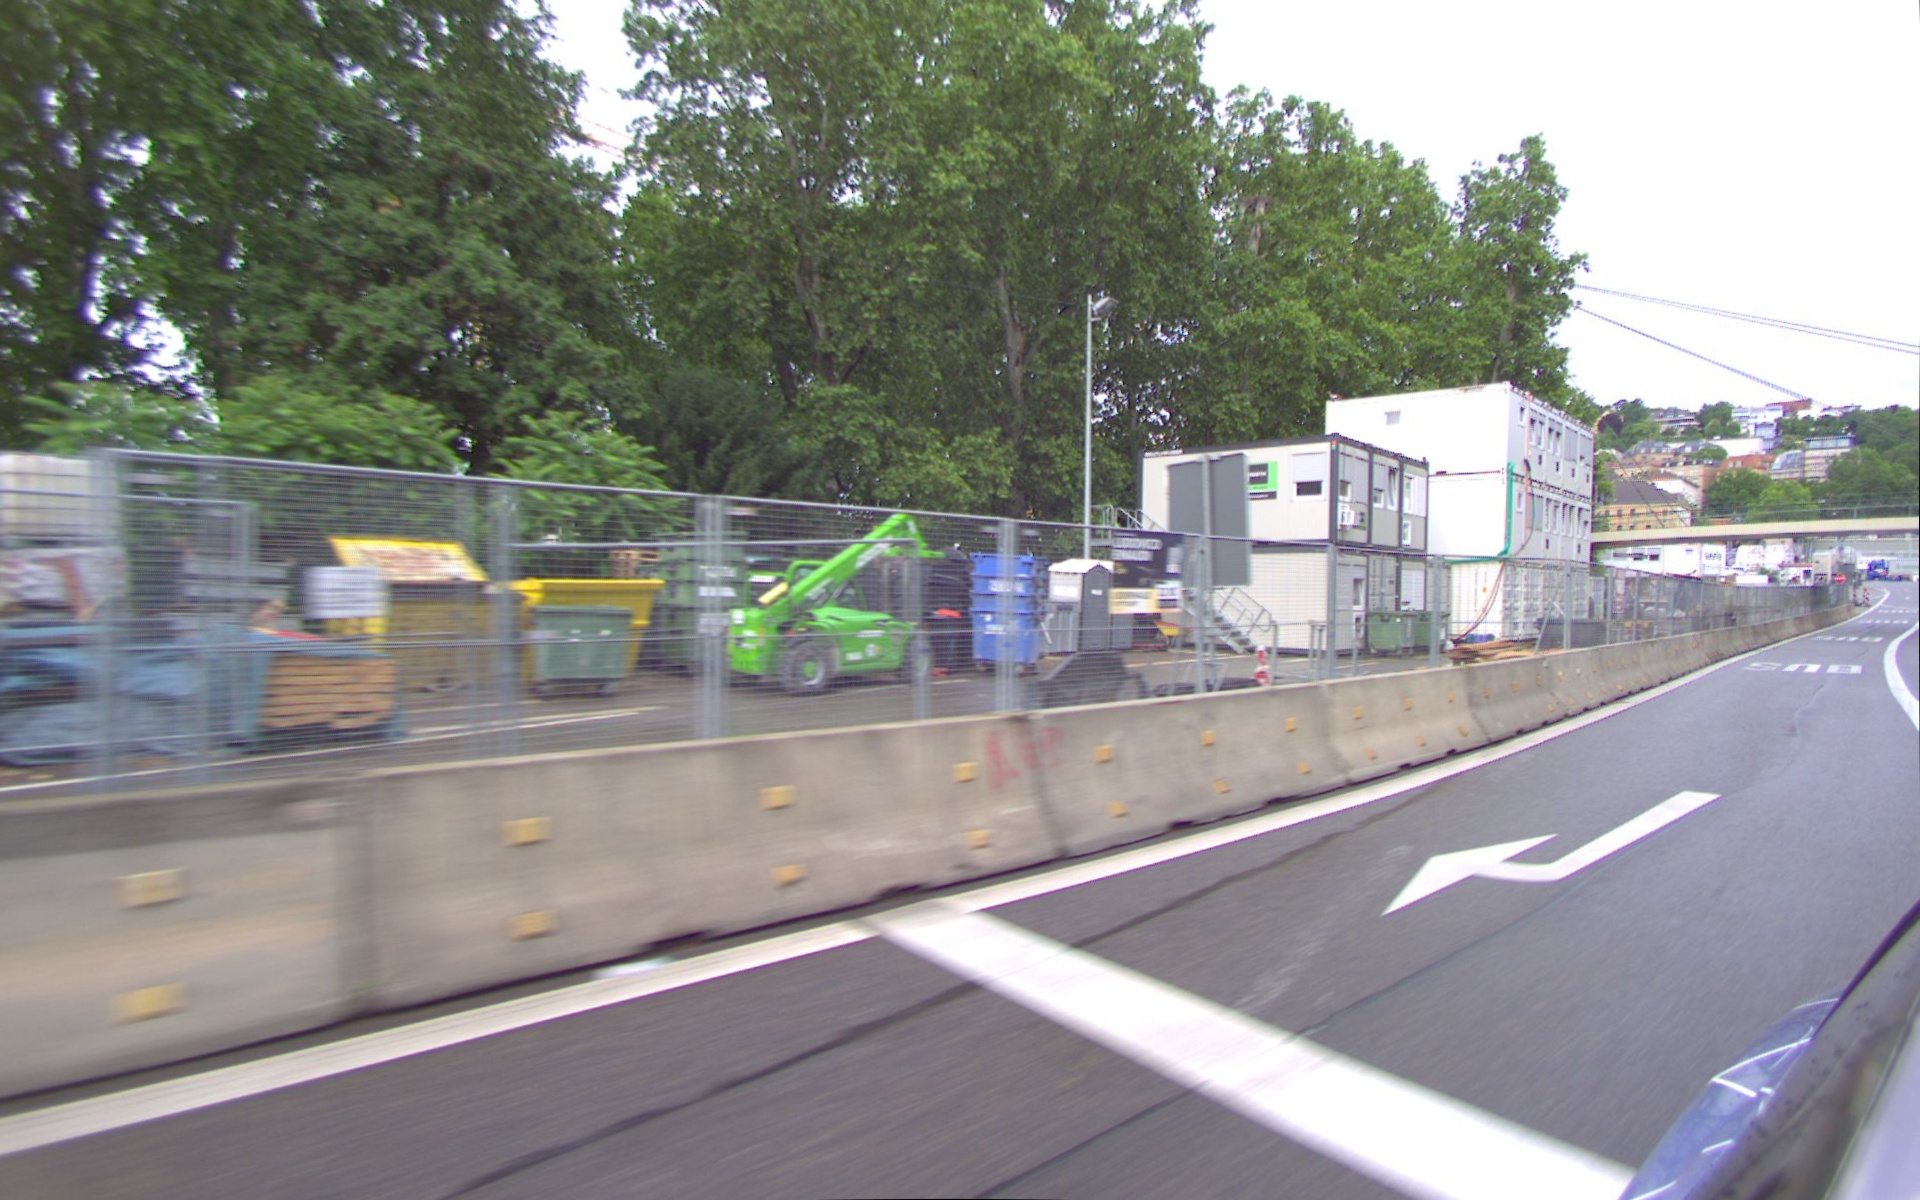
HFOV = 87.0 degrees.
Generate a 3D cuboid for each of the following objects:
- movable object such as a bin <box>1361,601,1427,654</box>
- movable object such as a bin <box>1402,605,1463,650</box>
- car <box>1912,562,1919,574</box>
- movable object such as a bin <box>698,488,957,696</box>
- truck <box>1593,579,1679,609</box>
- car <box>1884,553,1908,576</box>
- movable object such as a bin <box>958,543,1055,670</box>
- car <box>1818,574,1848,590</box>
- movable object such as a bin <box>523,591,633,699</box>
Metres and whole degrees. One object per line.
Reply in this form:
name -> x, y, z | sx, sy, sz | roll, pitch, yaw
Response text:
movable object such as a bin -> 11.603, 0.708, 27.053 | 1.247, 1.251, 1.220 | 4, 5, 43
movable object such as a bin -> 13.722, 0.785, 29.390 | 1.247, 1.136, 1.220 | 4, 5, 43
car -> 140.654, -4.611, 147.147 | 1.980, 1.589, 3.967 | 2, 4, 25
movable object such as a bin -> -1.967, -0.097, 15.903 | 1.804, 2.845, 3.811 | 1, 0, 39
truck -> 50.248, -0.505, 75.250 | 5.145, 2.038, 2.377 | 2, 4, 39
car -> 177.979, -6.808, 192.367 | 8.586, 4.061, 2.832 | -3, 5, -45
movable object such as a bin -> 0.878, 0.105, 18.740 | 1.443, 2.231, 1.256 | 1, -1, 21
car -> 88.339, -1.811, 102.389 | 4.339, 1.459, 1.835 | -3, 2, -42
movable object such as a bin -> -5.143, 0.577, 13.580 | 1.239, 1.361, 1.182 | 2, 0, -26
